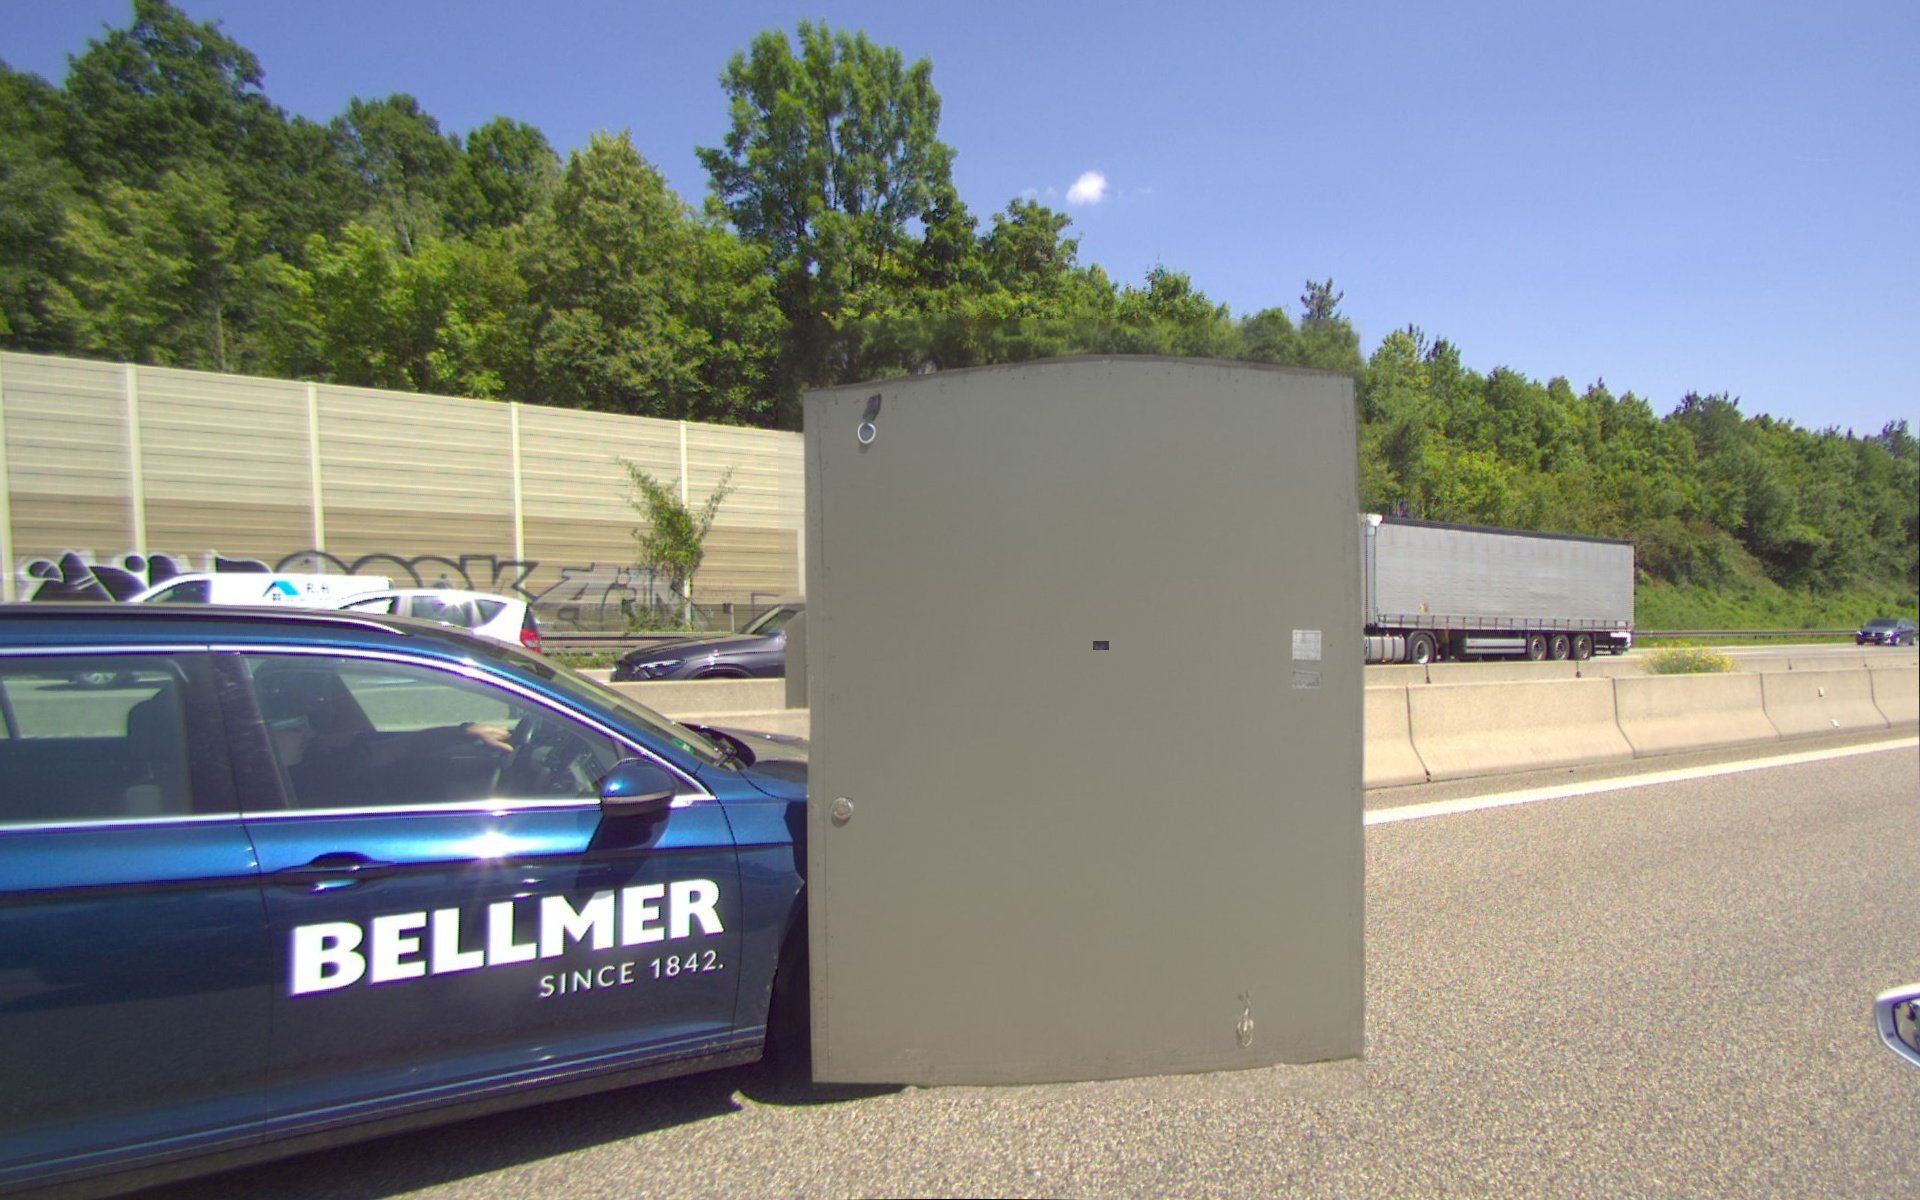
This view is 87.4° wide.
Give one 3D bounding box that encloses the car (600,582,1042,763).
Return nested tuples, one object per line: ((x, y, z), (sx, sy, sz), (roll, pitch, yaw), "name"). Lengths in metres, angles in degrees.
((-1.467, 0.707, 11.194), (4.549, 1.663, 1.801), (1, 0, -30), "car")

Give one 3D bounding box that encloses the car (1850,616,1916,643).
((52.855, 1.656, 57.502), (4.337, 1.481, 1.570), (1, 0, -31), "car")

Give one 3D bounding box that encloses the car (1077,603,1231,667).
((5.460, 0.955, 28.180), (4.050, 1.663, 1.801), (1, 0, -30), "car")

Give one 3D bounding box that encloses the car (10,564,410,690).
((-12.496, 0.476, 17.289), (5.242, 1.892, 1.912), (2, -1, -31), "car")

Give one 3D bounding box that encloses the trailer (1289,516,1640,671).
((15.807, 0.009, 30.608), (13.671, 3.960, 2.798), (2, -1, -32), "trailer")

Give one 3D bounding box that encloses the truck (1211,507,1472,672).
((10.453, -0.163, 27.261), (7.234, 3.960, 2.798), (2, -1, -32), "truck")

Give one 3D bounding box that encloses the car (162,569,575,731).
((-7.036, 0.576, 12.345), (4.057, 1.692, 1.819), (2, -1, -30), "car")

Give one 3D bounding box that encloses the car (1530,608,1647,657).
((24.902, 1.259, 39.750), (5.047, 1.834, 1.801), (1, 0, -30), "car")

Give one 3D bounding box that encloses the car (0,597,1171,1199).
((-1.721, 0.737, 3.052), (4.673, 1.446, 1.724), (1, 0, -30), "car")
